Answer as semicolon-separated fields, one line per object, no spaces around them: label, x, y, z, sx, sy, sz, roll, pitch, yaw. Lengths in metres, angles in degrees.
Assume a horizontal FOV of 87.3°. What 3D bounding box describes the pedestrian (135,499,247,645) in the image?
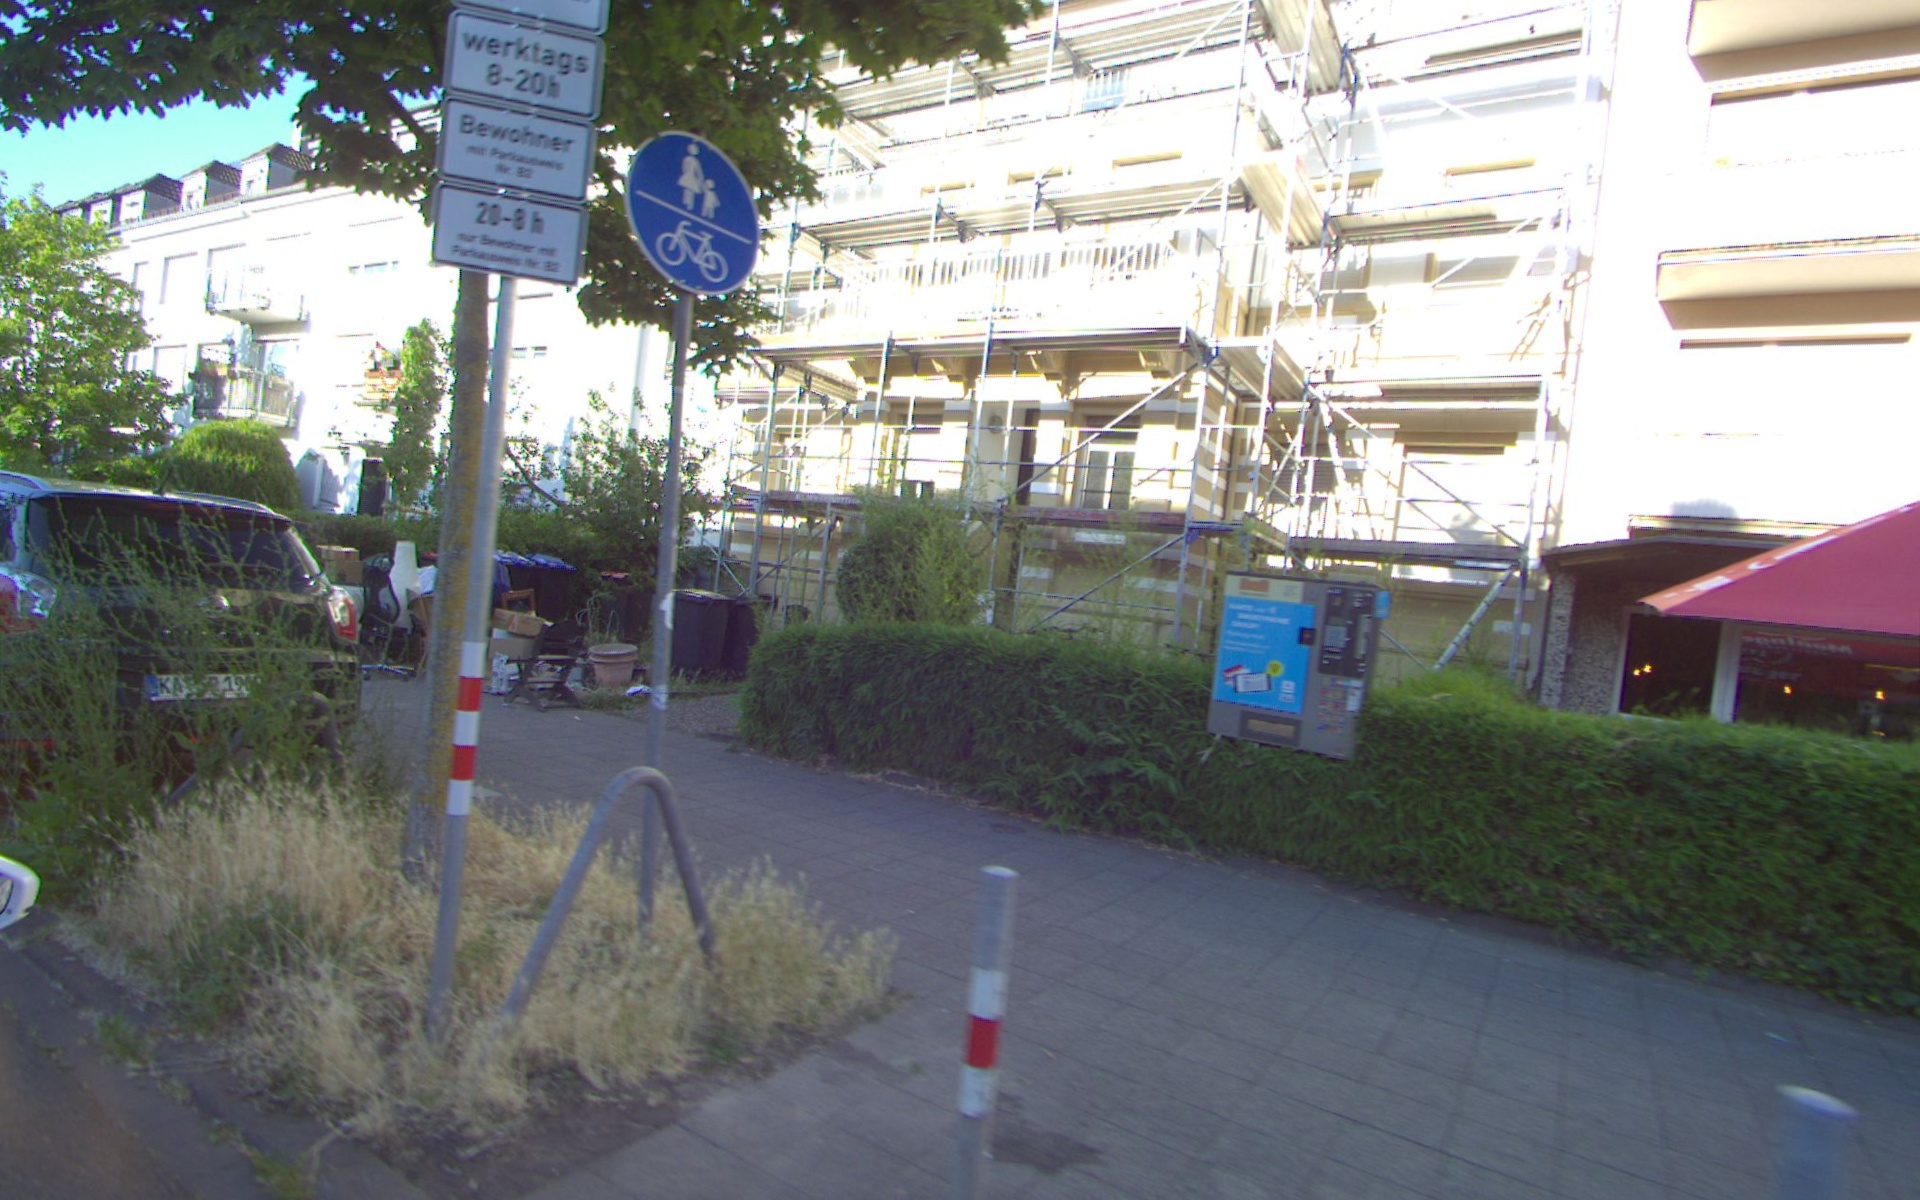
pedestrian;-8.895;-0.310;11.646;0.734;1.587;0.557;7;0;14

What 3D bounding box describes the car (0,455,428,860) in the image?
car;-5.143;0.095;5.820;3.962;1.653;1.793;7;1;32

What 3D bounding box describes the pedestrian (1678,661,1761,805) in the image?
pedestrian;10.149;1.765;13.467;0.673;1.797;0.525;7;0;33
